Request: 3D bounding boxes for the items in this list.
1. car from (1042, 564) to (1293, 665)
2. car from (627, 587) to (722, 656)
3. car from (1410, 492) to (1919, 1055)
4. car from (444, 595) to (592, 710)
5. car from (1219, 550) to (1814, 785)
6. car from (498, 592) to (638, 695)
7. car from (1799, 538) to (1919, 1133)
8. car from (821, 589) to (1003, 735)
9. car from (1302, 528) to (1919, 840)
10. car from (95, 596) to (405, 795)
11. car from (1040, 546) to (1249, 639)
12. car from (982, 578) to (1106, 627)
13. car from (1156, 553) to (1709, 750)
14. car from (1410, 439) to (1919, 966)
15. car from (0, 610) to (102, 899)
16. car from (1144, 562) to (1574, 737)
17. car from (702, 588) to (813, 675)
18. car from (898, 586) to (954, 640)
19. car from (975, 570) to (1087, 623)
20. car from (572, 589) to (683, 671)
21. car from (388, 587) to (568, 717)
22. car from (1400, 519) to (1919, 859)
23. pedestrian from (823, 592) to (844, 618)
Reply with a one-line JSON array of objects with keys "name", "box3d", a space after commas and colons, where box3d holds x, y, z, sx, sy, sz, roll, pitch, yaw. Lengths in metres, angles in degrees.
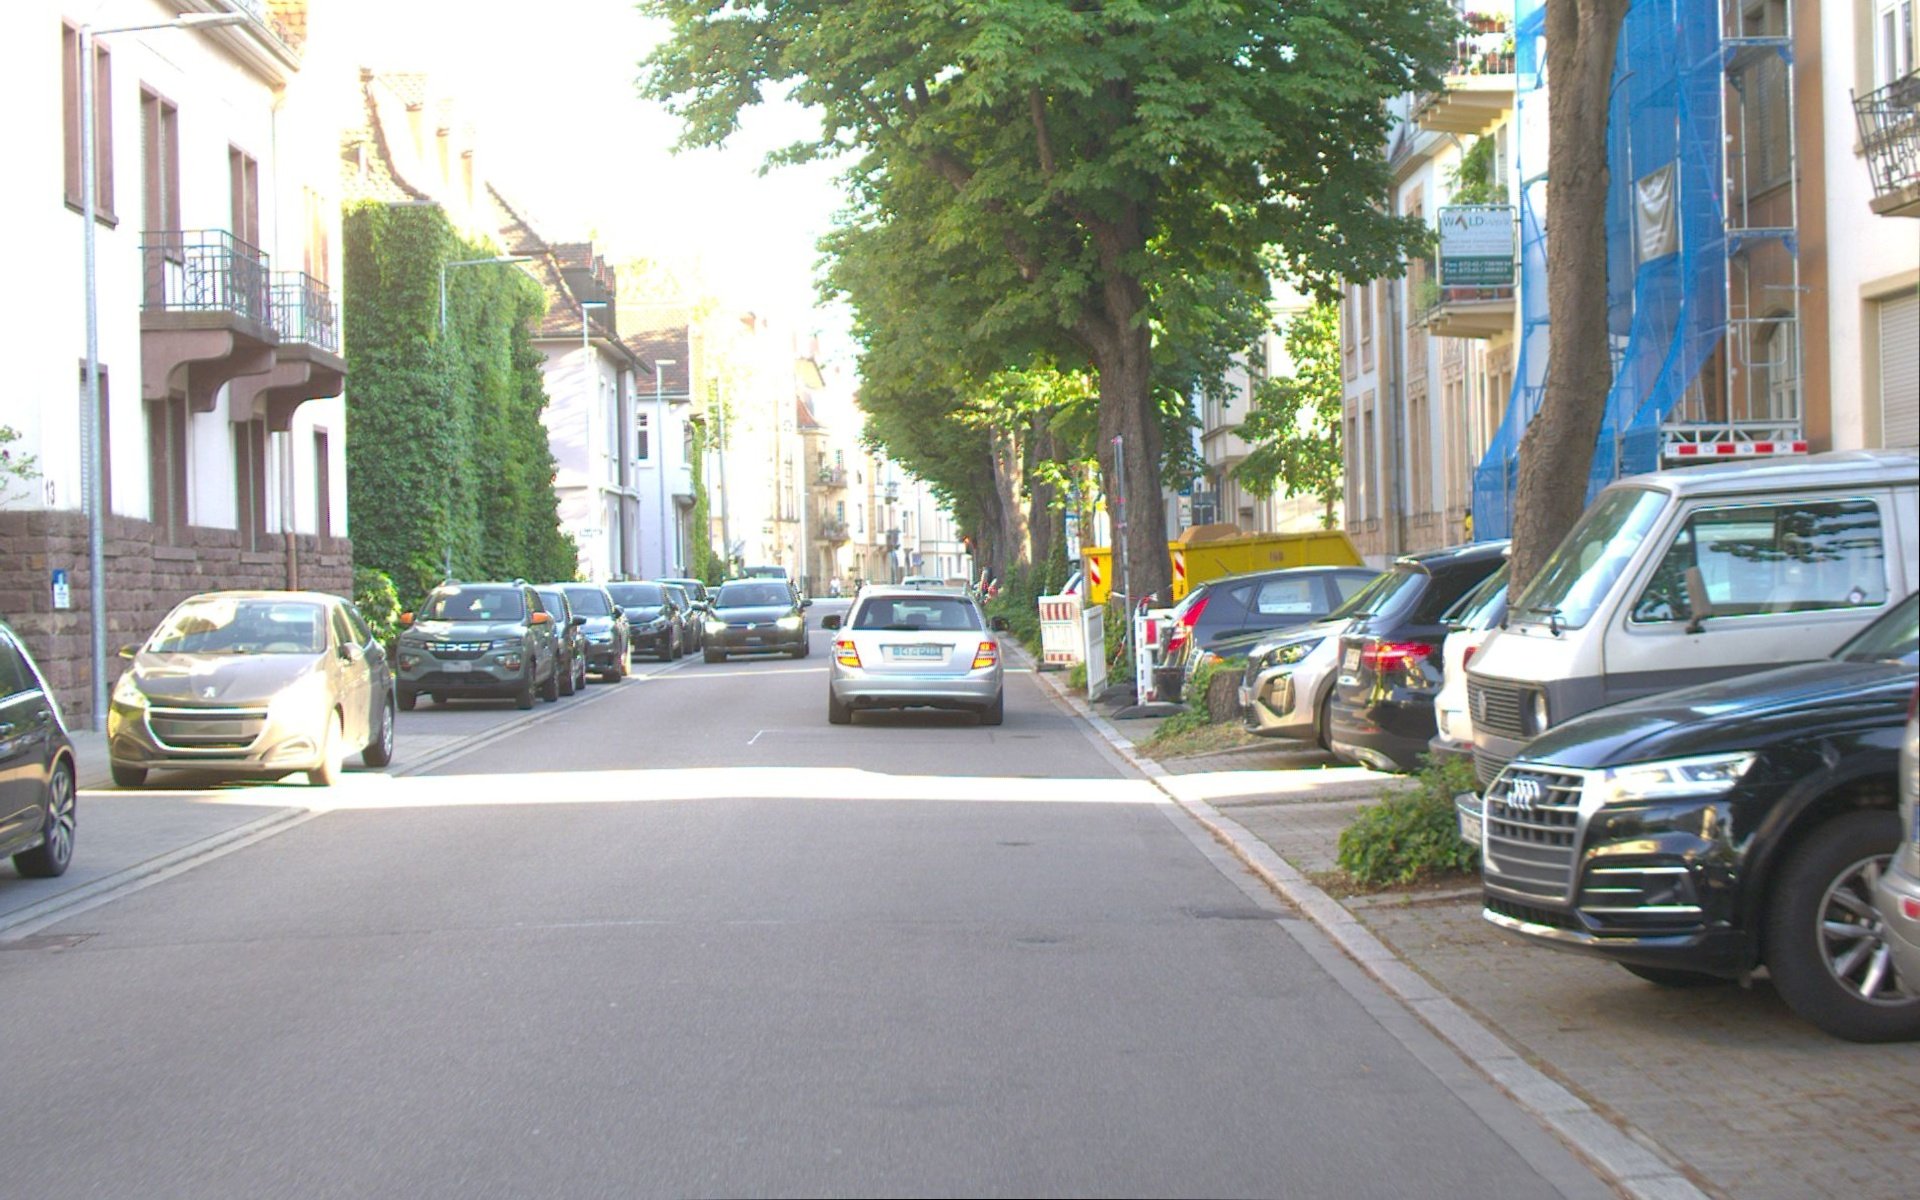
[{"name": "car", "box3d": [3.511, 0.237, 58.686, 4.144, 1.529, 1.687, -3, 0, 2]}, {"name": "car", "box3d": [-6.207, 0.460, 75.179, 1.704, 1.455, 3.917, 0, 0, 1]}, {"name": "car", "box3d": [3.823, 0.505, 11.756, 4.174, 1.718, 1.766, -1, 0, -8]}, {"name": "car", "box3d": [-5.829, 0.664, 45.635, 1.653, 1.442, 3.844, 0, 0, -3]}, {"name": "car", "box3d": [4.167, 0.495, 26.219, 4.155, 1.534, 1.851, -3, 0, 0]}, {"name": "car", "box3d": [-5.832, 0.613, 51.583, 1.792, 1.456, 4.778, 0, 0, -3]}, {"name": "car", "box3d": [4.336, 0.574, 9.207, 3.720, 1.549, 1.639, -1, 0, -2]}, {"name": "car", "box3d": [-0.471, 0.621, 35.656, 1.784, 1.432, 3.850, 0, 0, 0]}, {"name": "car", "box3d": [4.382, 0.466, 21.014, 4.331, 1.677, 1.706, -2, 1, -1]}, {"name": "car", "box3d": [-5.540, 0.699, 27.273, 1.653, 1.442, 4.005, 0, 0, 0]}, {"name": "car", "box3d": [3.969, -0.167, 74.547, 4.314, 1.801, 2.000, -3, 0, -1]}, {"name": "car", "box3d": [2.922, 0.075, 119.073, 4.190, 1.470, 1.851, -3, 0, 2]}, {"name": "car", "box3d": [4.238, 0.453, 31.374, 4.718, 1.530, 1.851, -3, 0, 0]}, {"name": "car", "box3d": [4.264, 0.369, 14.256, 4.469, 2.007, 1.896, -1, 0, -2]}, {"name": "car", "box3d": [-5.583, 0.772, 17.139, 1.653, 1.410, 4.168, 0, 0, -1]}, {"name": "car", "box3d": [3.874, 0.471, 33.909, 3.987, 1.487, 1.851, -3, 0, 1]}, {"name": "car", "box3d": [-3.602, 0.543, 61.698, 1.772, 1.443, 4.000, -2, 1, -1]}, {"name": "car", "box3d": [-1.012, 0.370, 103.676, 1.623, 1.564, 3.680, -1, 0, 0]}, {"name": "car", "box3d": [2.800, -0.131, 135.774, 4.219, 1.890, 1.906, -2, 0, -2]}, {"name": "car", "box3d": [-6.029, 0.523, 62.615, 1.649, 1.416, 4.099, 0, 0, 0]}, {"name": "car", "box3d": [-5.742, 0.594, 41.322, 1.653, 1.481, 3.764, 0, 0, 0]}, {"name": "car", "box3d": [4.500, 0.431, 18.840, 3.949, 1.677, 1.705, -2, 1, 3]}, {"name": "pedestrian", "box3d": [-8.144, 0.324, 220.897, 1.221, 1.716, 1.503, 0, 0, 3]}]
